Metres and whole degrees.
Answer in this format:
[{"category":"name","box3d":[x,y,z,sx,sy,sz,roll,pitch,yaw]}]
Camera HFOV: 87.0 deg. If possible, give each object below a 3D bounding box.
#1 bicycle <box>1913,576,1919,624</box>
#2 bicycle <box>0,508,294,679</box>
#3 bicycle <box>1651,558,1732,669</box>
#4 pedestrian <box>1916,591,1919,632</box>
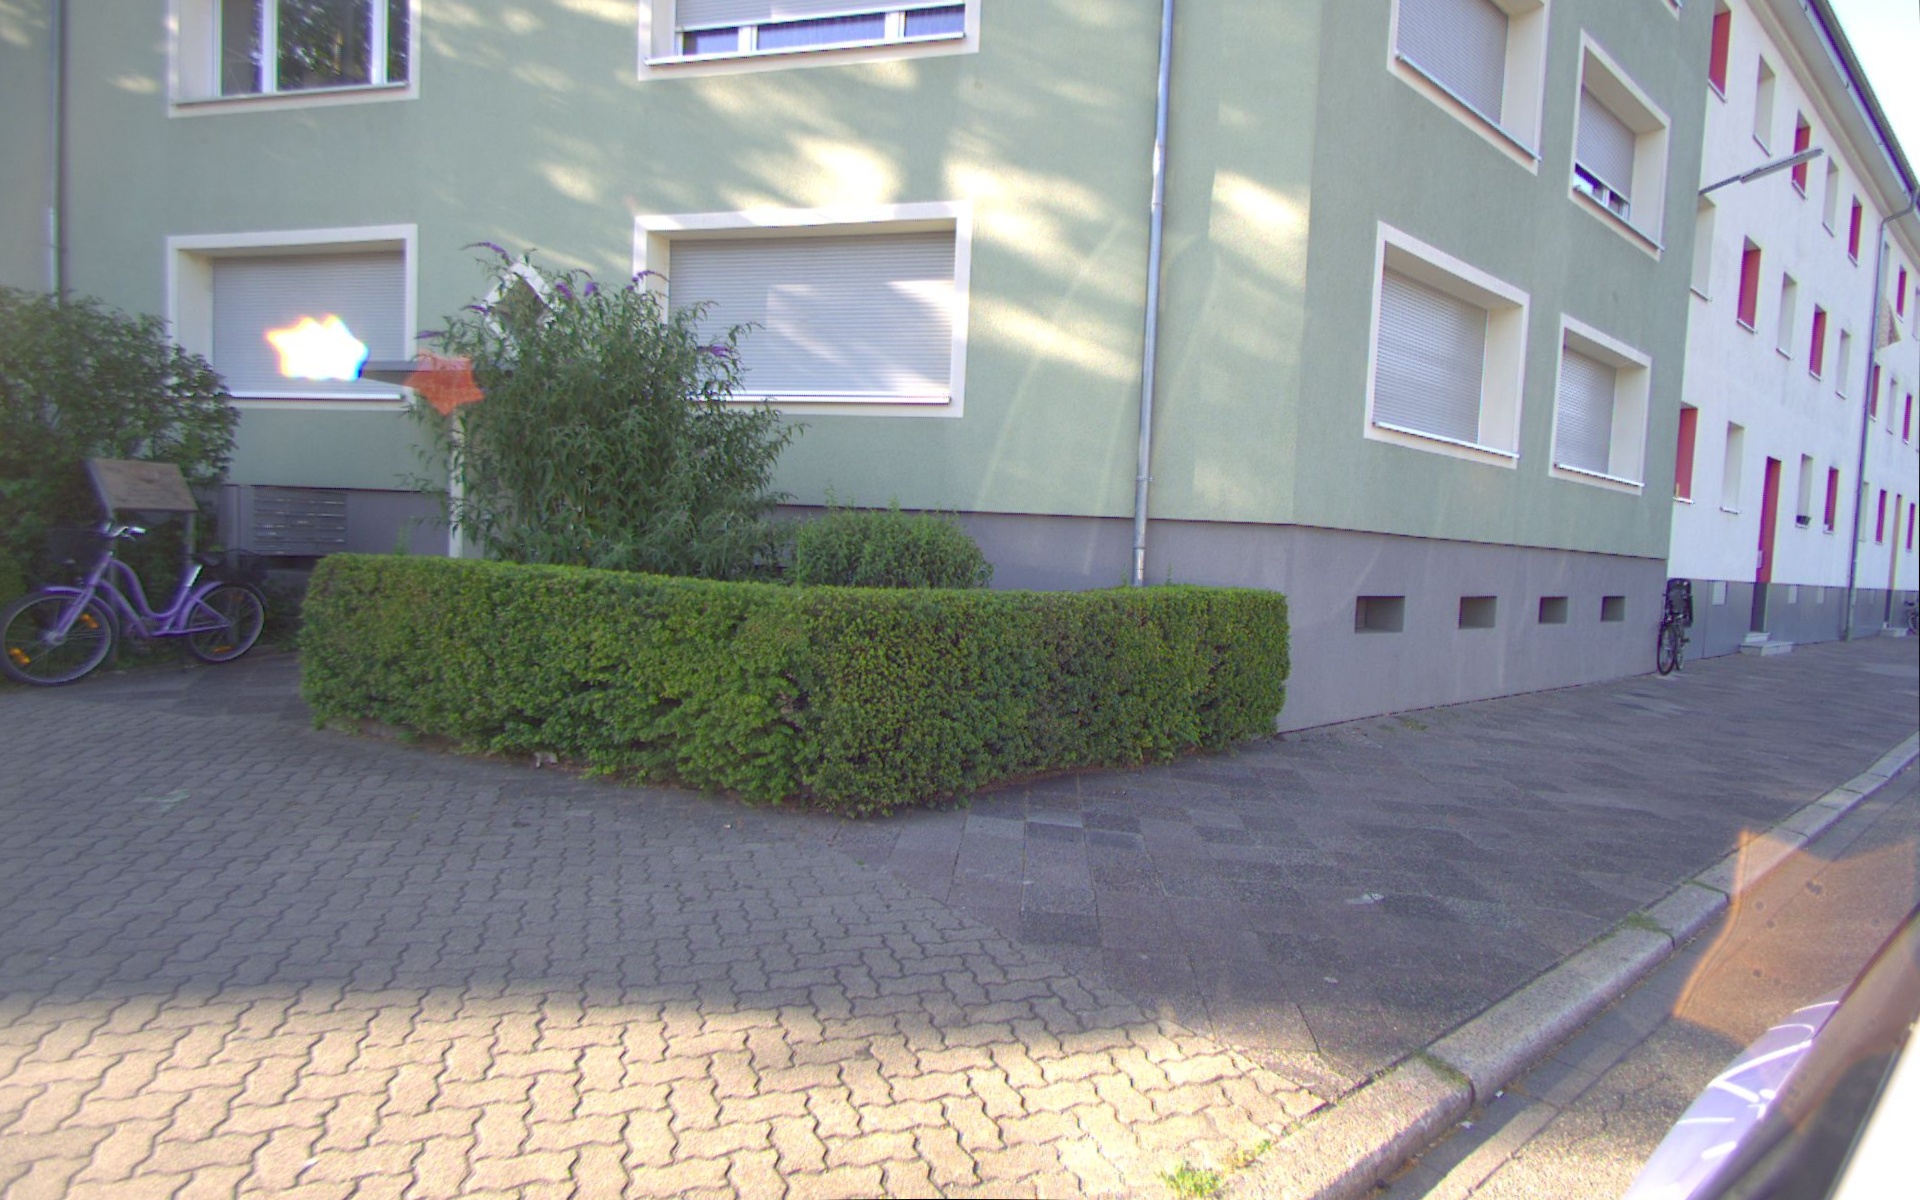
[{"category":"bicycle","box3d":[29.426,0.010,30.741,1.843,1.429,0.517,-1,4,-44]},{"category":"bicycle","box3d":[-5.914,-0.089,7.289,0.515,1.069,1.920,3,3,22]},{"category":"bicycle","box3d":[10.128,0.157,13.991,1.843,1.429,0.517,-1,4,-44]},{"category":"pedestrian","box3d":[26.343,0.023,27.164,0.933,1.727,0.787,0,4,-41]}]
